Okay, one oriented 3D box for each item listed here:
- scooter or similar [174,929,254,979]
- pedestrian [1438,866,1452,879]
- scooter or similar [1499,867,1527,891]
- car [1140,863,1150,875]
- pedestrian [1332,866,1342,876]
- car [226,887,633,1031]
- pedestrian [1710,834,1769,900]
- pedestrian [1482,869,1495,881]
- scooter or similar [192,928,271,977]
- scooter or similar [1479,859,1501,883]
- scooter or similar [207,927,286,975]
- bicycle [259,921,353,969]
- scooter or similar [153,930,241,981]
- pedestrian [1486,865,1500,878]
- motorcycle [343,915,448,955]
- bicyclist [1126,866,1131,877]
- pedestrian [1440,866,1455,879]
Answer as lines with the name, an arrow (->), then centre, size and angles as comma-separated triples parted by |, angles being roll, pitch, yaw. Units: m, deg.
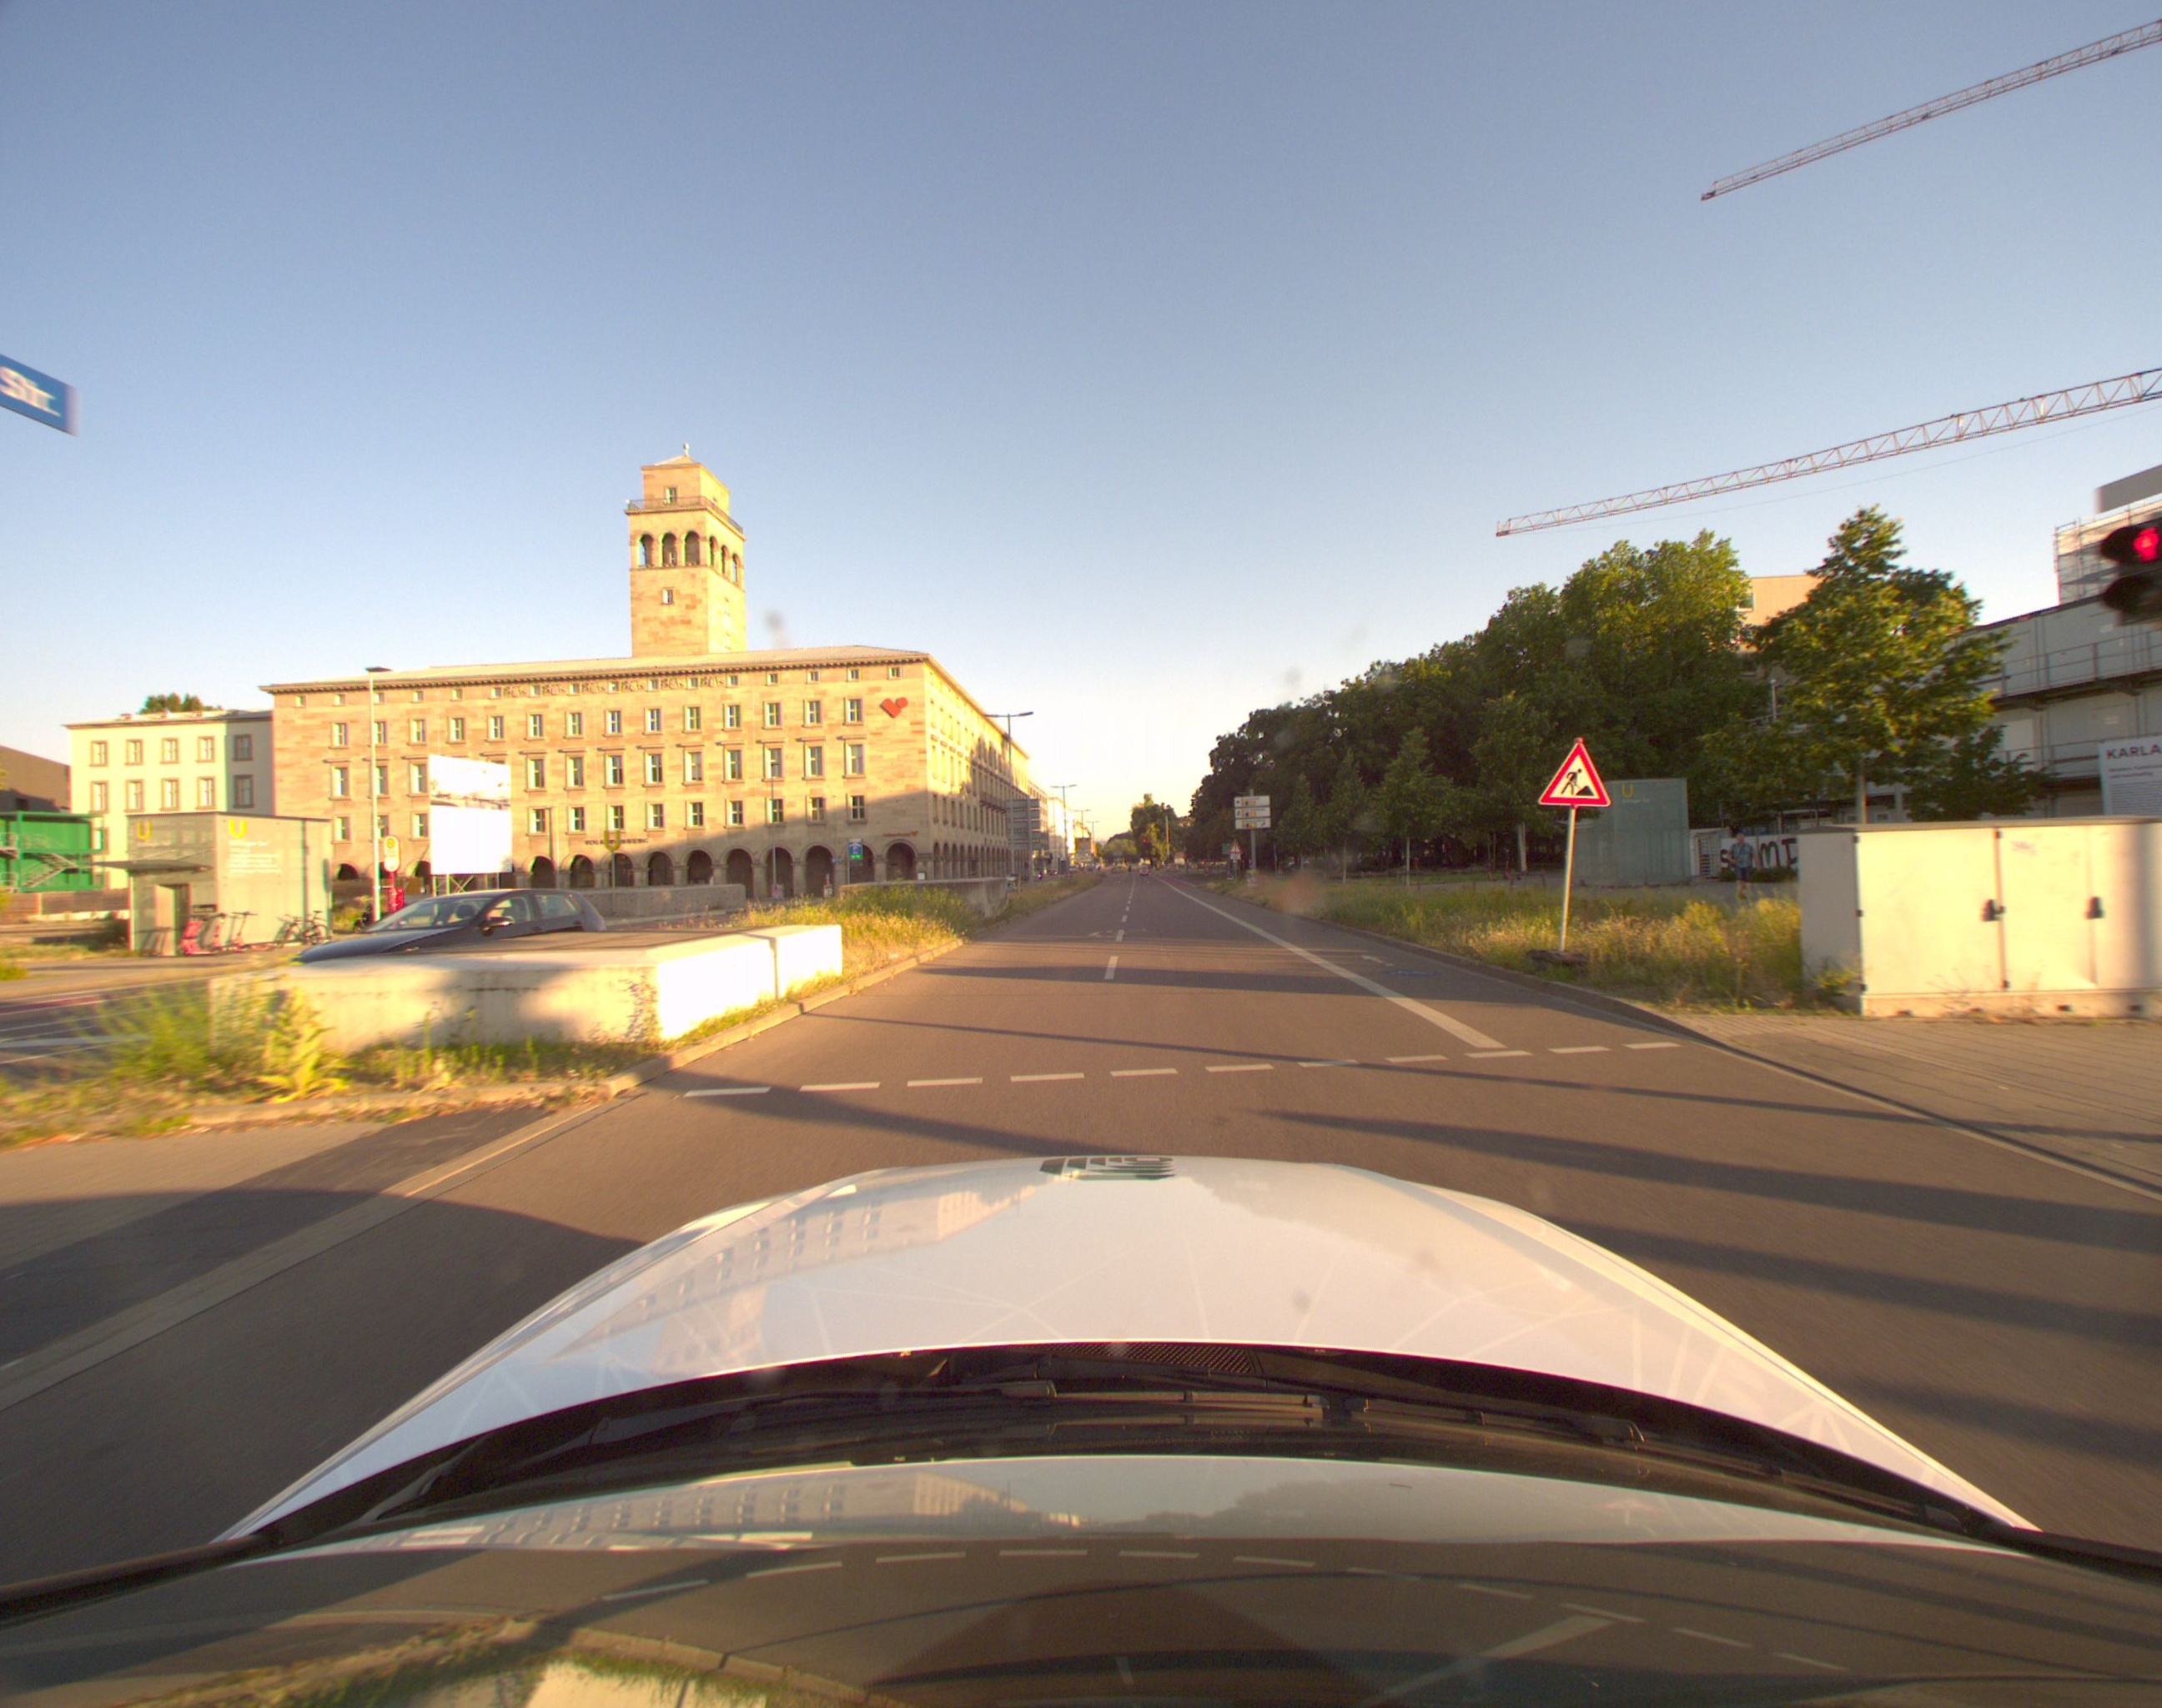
scooter or similar -> -25.166, 2.901, 23.657 | 1.783, 1.305, 0.417 | -2, -2, -4
pedestrian -> 38.537, 1.951, 86.199 | 1.126, 1.260, 0.727 | -3, -2, 5
scooter or similar -> 22.912, 1.344, 43.233 | 0.472, 1.220, 1.572 | -5, -2, -3
car -> 10.163, 2.406, 129.966 | 1.452, 1.781, 2.568 | -2, -1, 6
pedestrian -> 23.618, 1.567, 75.147 | 0.681, 0.884, 0.589 | 0, -2, -22
car -> -8.548, 1.265, 11.375 | 1.879, 1.466, 4.539 | -2, -2, 2
pedestrian -> 18.642, 0.367, 23.076 | 0.810, 1.815, 1.049 | -3, -1, 8
pedestrian -> 37.973, 1.960, 75.848 | 0.784, 1.164, 0.766 | -2, -2, -3
scooter or similar -> -25.170, 2.910, 24.141 | 1.826, 1.305, 0.423 | -2, -2, -4
scooter or similar -> 21.706, 0.927, 43.218 | 0.422, 1.220, 1.400 | -5, -2, 4
scooter or similar -> -25.182, 2.917, 24.583 | 1.831, 1.305, 0.423 | -2, -2, -4
bicycle -> -25.239, 2.944, 26.590 | 0.615, 1.324, 2.510 | -2, -2, 2
scooter or similar -> -25.124, 2.877, 23.150 | 1.854, 1.305, 0.500 | -2, -2, -3
pedestrian -> 37.951, 1.604, 75.004 | 0.784, 1.164, 0.766 | -2, -2, -3
motorcycle -> -25.801, 3.049, 30.689 | 3.221, 1.383, 0.840 | -1, -2, 1
bicyclist -> 7.716, 2.845, 132.281 | 0.625, 1.693, 0.749 | -3, -2, 2
pedestrian -> 38.382, 1.941, 85.254 | 1.126, 1.260, 0.907 | -3, -2, 5
